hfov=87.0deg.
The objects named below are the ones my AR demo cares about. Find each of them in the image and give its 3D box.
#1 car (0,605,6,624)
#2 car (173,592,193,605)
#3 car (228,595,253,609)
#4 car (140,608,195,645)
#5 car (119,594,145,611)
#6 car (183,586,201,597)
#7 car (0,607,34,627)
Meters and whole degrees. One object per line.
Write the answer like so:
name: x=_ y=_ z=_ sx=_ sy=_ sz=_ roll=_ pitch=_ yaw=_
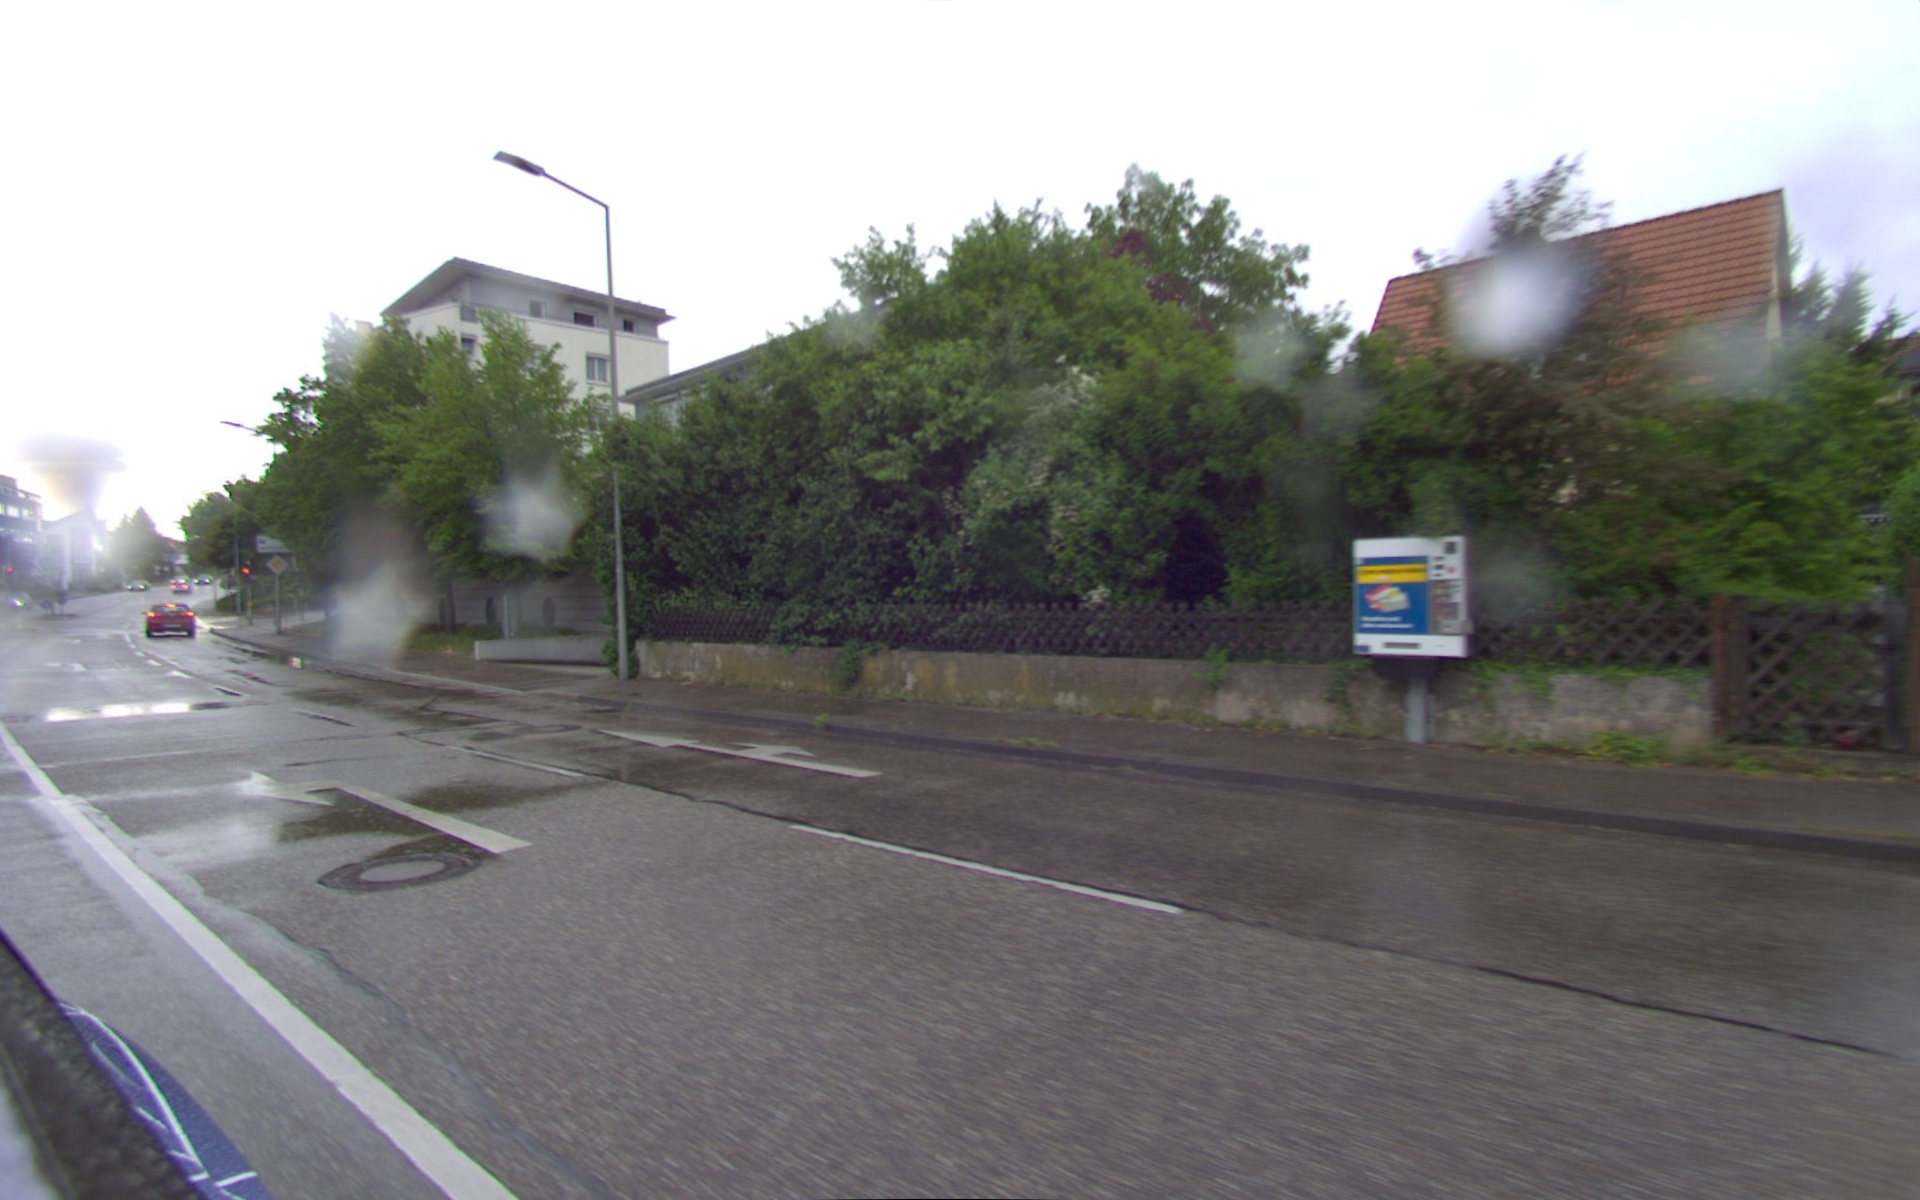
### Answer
car: x=-76.490 y=1.187 z=79.477 sx=1.726 sy=1.489 sz=4.009 roll=-3 pitch=2 yaw=-36
car: x=-101.237 y=-0.216 z=131.946 sx=1.666 sy=1.566 sz=3.918 roll=-3 pitch=3 yaw=-33
car: x=-83.698 y=0.216 z=117.715 sx=1.708 sy=1.489 sz=4.034 roll=-2 pitch=1 yaw=-26
car: x=-35.800 y=1.173 z=45.683 sx=1.753 sy=1.518 sz=4.111 roll=2 pitch=-1 yaw=-40
car: x=-111.914 y=0.358 z=136.817 sx=1.967 sy=2.028 sz=4.012 roll=-6 pitch=4 yaw=-31
car: x=-121.245 y=-1.360 z=159.867 sx=1.799 sy=1.700 sz=4.012 roll=-1 pitch=0 yaw=-31
car: x=-81.097 y=1.469 z=86.765 sx=1.868 sy=1.556 sz=4.031 roll=-2 pitch=2 yaw=-34
